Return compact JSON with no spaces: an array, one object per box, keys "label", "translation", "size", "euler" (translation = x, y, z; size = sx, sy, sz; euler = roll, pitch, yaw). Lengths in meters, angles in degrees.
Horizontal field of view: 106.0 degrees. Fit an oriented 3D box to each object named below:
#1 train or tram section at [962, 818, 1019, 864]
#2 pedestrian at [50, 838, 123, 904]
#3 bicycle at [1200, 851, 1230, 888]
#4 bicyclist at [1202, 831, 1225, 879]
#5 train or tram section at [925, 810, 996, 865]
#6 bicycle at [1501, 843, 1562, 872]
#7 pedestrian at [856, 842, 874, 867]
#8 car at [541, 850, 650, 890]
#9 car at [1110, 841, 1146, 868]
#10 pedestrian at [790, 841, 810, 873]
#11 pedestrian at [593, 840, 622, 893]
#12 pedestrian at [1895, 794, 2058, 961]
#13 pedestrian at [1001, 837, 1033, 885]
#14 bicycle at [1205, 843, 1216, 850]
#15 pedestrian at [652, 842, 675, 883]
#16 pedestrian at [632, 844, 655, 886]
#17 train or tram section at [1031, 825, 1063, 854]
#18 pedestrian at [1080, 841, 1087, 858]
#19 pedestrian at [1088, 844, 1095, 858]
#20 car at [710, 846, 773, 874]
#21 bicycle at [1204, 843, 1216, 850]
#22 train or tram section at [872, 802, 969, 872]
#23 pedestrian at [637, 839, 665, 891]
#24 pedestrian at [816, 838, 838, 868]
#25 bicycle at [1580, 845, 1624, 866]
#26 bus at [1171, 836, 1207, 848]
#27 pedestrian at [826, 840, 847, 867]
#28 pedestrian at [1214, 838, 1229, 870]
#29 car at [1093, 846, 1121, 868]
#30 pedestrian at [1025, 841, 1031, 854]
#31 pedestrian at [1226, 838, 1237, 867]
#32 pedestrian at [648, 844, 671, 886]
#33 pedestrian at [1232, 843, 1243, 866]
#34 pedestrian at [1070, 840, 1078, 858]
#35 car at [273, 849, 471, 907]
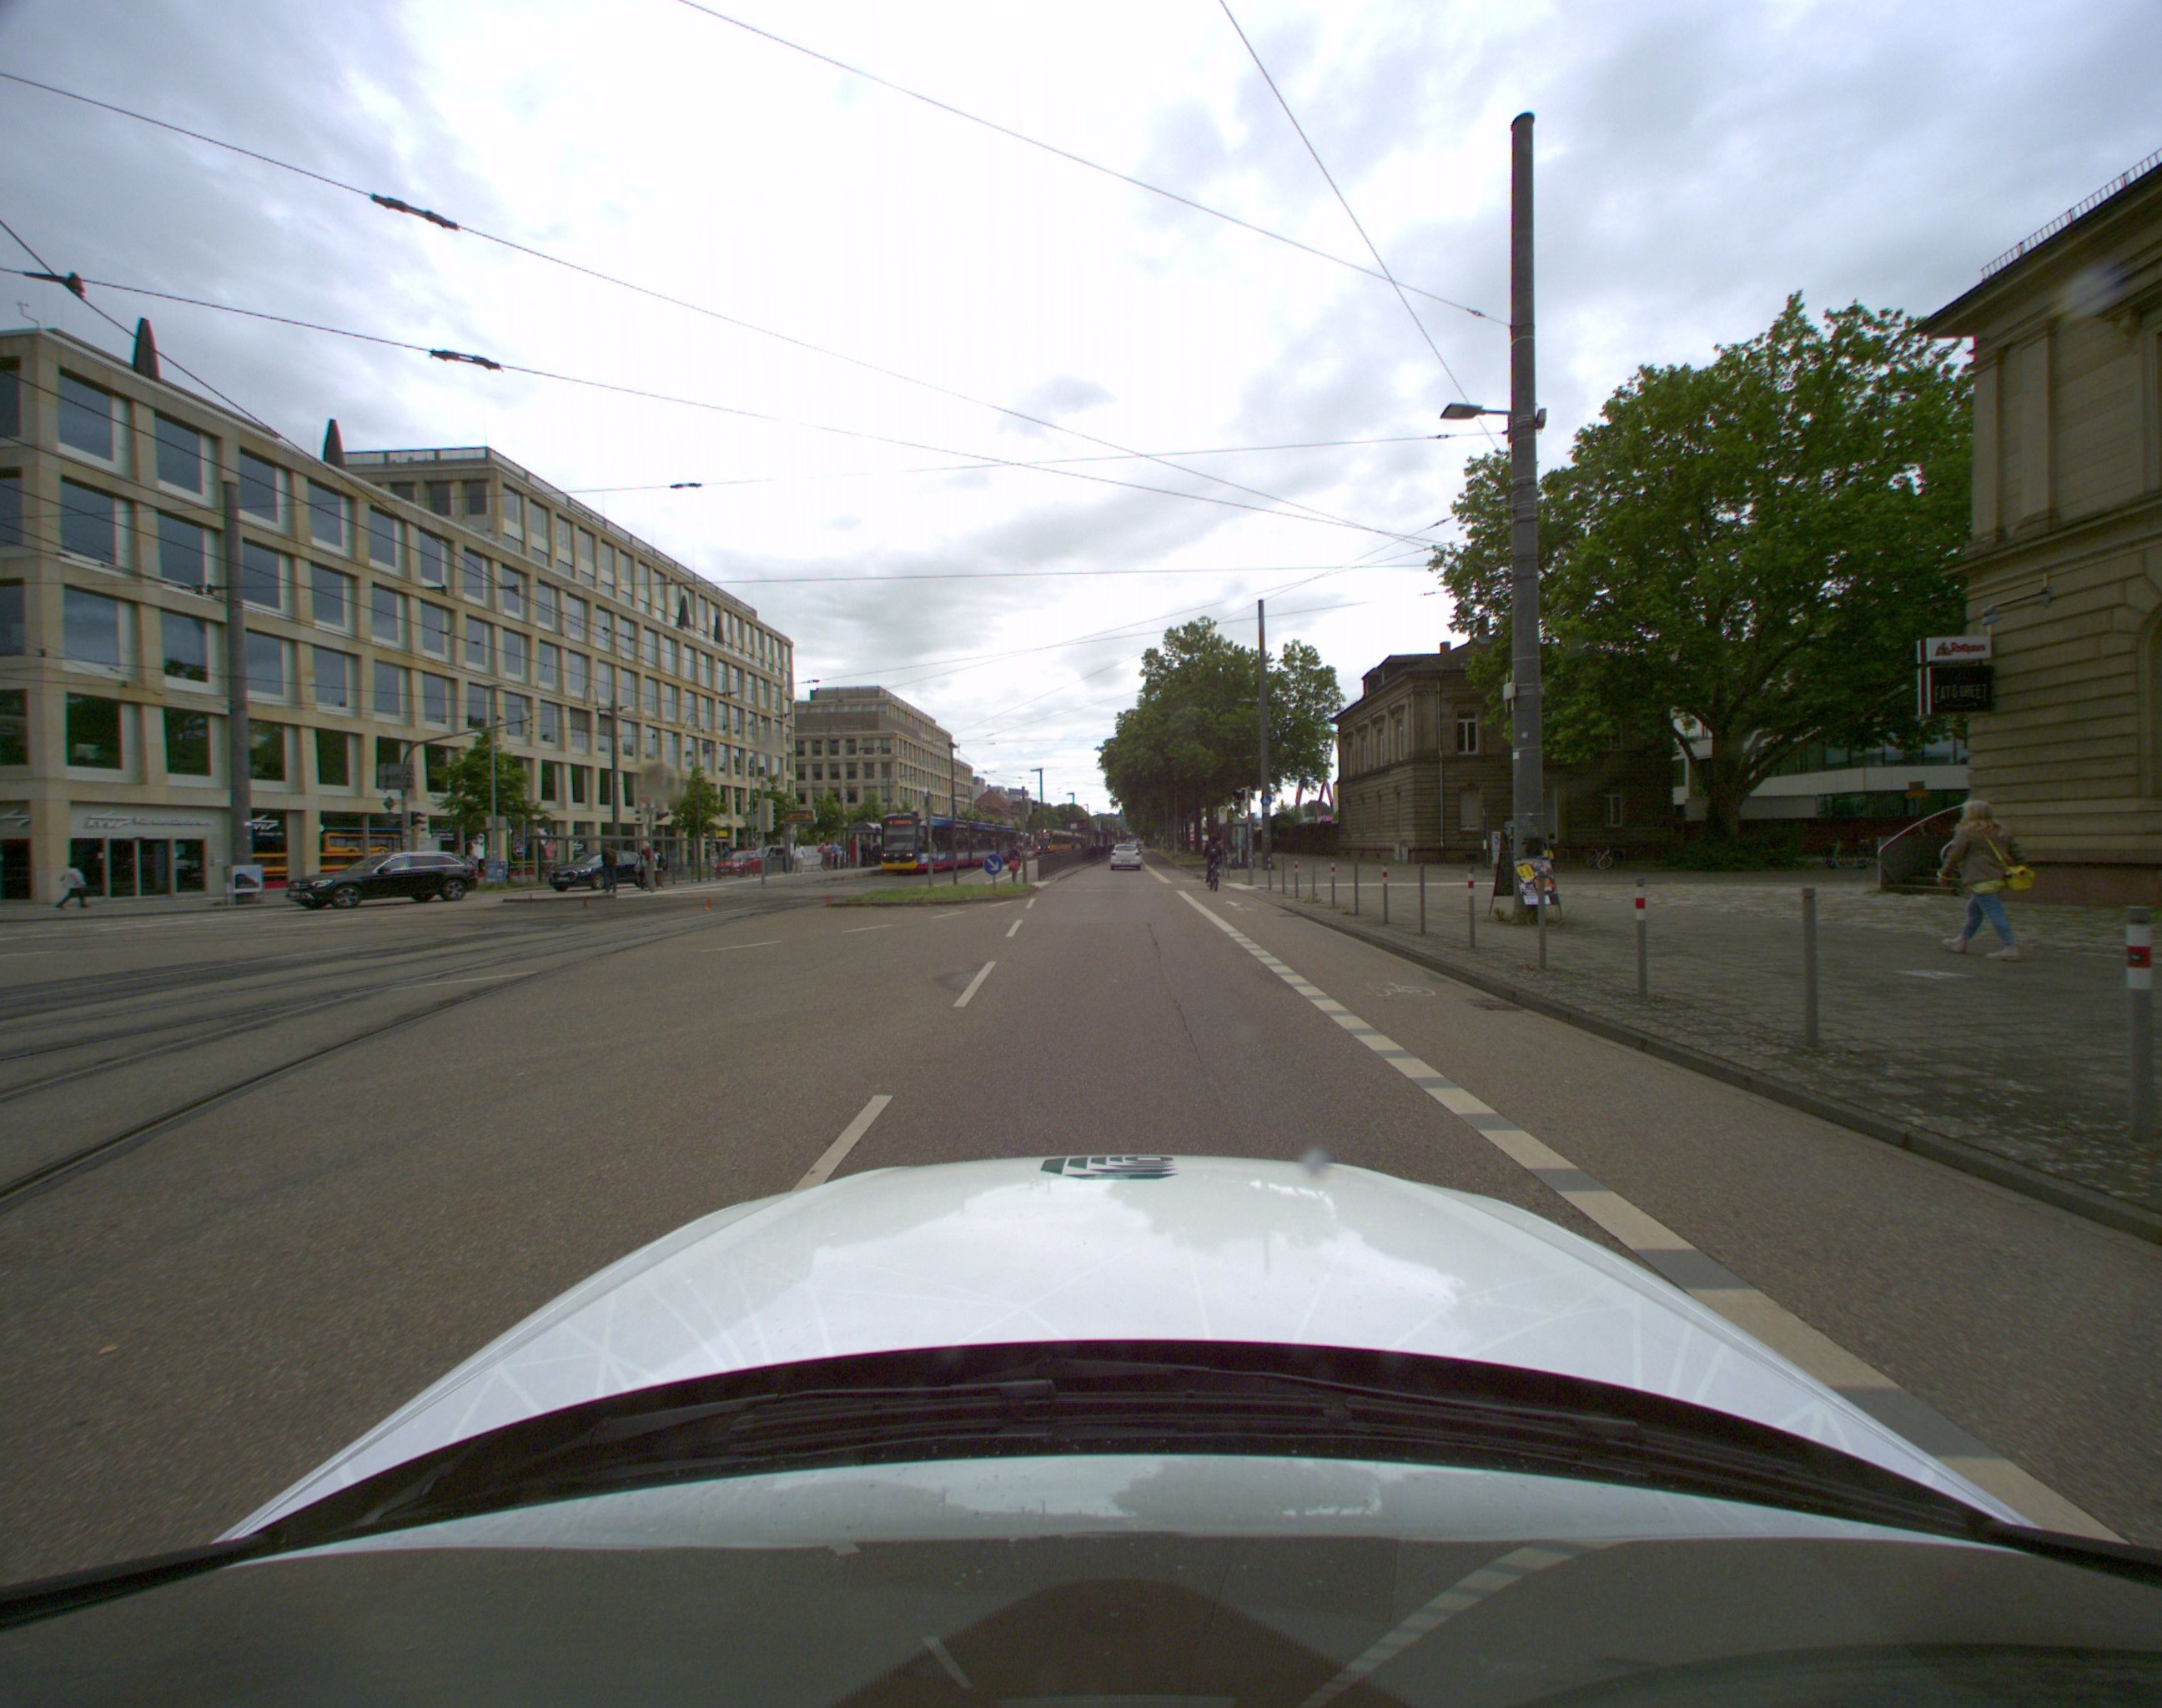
[{"label":"train or tram section","translation":[-7.939,-1.069,73.649],"size":[2.842,3.692,13.532],"euler":[-1,0,3]},{"label":"pedestrian","translation":[-31.450,0.527,25.768],"size":[1.038,2.013,0.998],"euler":[-1,0,3]},{"label":"bicycle","translation":[4.297,0.476,26.307],"size":[0.650,1.150,2.284],"euler":[-1,0,2]},{"label":"bicyclist","translation":[4.287,0.023,26.366],"size":[0.638,1.531,0.665],"euler":[-1,0,2]},{"label":"train or tram section","translation":[-8.774,-1.099,61.065],"size":[2.843,3.640,11.710],"euler":[-1,0,3]},{"label":"bicycle","translation":[19.598,0.112,35.527],"size":[0.897,1.068,3.409],"euler":[-1,3,2]},{"label":"pedestrian","translation":[-13.782,0.048,51.962],"size":[0.843,1.585,0.910],"euler":[-1,0,-1]},{"label":"car","translation":[-20.031,0.609,33.834],"size":[1.731,1.494,4.370],"euler":[-1,1,3]},{"label":"car","translation":[2.805,0.029,48.205],"size":[1.876,1.453,4.007],"euler":[-1,0,6]},{"label":"pedestrian","translation":[-14.261,0.140,41.336],"size":[0.705,1.585,0.766],"euler":[-1,0,2]},{"label":"pedestrian","translation":[-17.178,0.444,29.549],"size":[0.858,1.867,0.740],"euler":[-1,0,-31]},{"label":"pedestrian","translation":[9.594,0.242,8.779],"size":[0.714,1.678,1.003],"euler":[-1,0,13]},{"label":"pedestrian","translation":[-2.264,0.247,28.814],"size":[0.865,1.643,0.645],"euler":[-1,0,-38]},{"label":"bicycle","translation":[22.324,-1.315,140.368],"size":[1.893,1.097,0.550],"euler":[-3,0,2]},{"label":"pedestrian","translation":[-16.759,0.343,32.716],"size":[0.717,1.598,0.704],"euler":[-1,0,-21]},{"label":"pedestrian","translation":[-16.901,0.431,31.450],"size":[0.707,1.598,0.528],"euler":[-2,0,38]},{"label":"train or tram section","translation":[-4.808,-1.994,118.684],"size":[3.223,3.862,11.325],"euler":[-1,0,4]},{"label":"pedestrian","translation":[0.285,-0.511,86.226],"size":[0.669,1.793,1.111],"euler":[-1,0,-5]},{"label":"pedestrian","translation":[1.037,-0.329,78.952],"size":[0.607,1.341,0.601],"euler":[-1,0,4]},{"label":"car","translation":[-18.739,0.291,45.087],"size":[1.731,1.449,3.772],"euler":[-1,1,3]},{"label":"bicycle","translation":[22.134,-1.292,139.651],"size":[1.882,1.105,0.550],"euler":[-3,0,2]},{"label":"train or tram section","translation":[-9.386,-0.910,49.401],"size":[2.843,3.640,11.775],"euler":[-1,0,3]},{"label":"pedestrian","translation":[-16.003,0.404,30.285],"size":[0.858,1.867,0.740],"euler":[-1,0,-31]},{"label":"pedestrian","translation":[-13.871,-0.063,44.534],"size":[0.904,1.585,0.848],"euler":[-1,0,2]},{"label":"bicycle","translation":[22.453,0.044,35.128],"size":[0.607,0.872,2.083],"euler":[-1,1,2]},{"label":"bus","translation":[28.816,-3.260,217.247],"size":[9.243,2.960,2.001],"euler":[-1,0,1]},{"label":"pedestrian","translation":[-14.740,-0.055,49.112],"size":[0.839,1.585,0.915],"euler":[-1,0,17]},{"label":"pedestrian","translation":[6.721,0.007,39.002],"size":[0.547,1.528,0.642],"euler":[-1,0,21]},{"label":"car","translation":[1.971,0.180,61.145],"size":[1.832,1.552,4.006],"euler":[-1,0,5]},{"label":"pedestrian","translation":[-7.686,-0.951,118.913],"size":[0.708,1.795,1.161],"euler":[-1,0,3]},{"label":"pedestrian","translation":[8.403,-0.080,45.408],"size":[0.474,1.563,0.703],"euler":[-1,0,3]},{"label":"pedestrian","translation":[-16.462,0.429,31.839],"size":[0.707,1.598,0.528],"euler":[-2,0,38]},{"label":"pedestrian","translation":[8.499,0.041,44.157],"size":[0.474,1.234,0.703],"euler":[-1,0,3]},{"label":"pedestrian","translation":[-0.736,-0.520,85.505],"size":[0.670,1.793,1.110],"euler":[-1,0,-9]},{"label":"car","translation":[-22.152,0.687,25.660],"size":[1.722,1.599,4.347],"euler":[-1,1,26]}]
